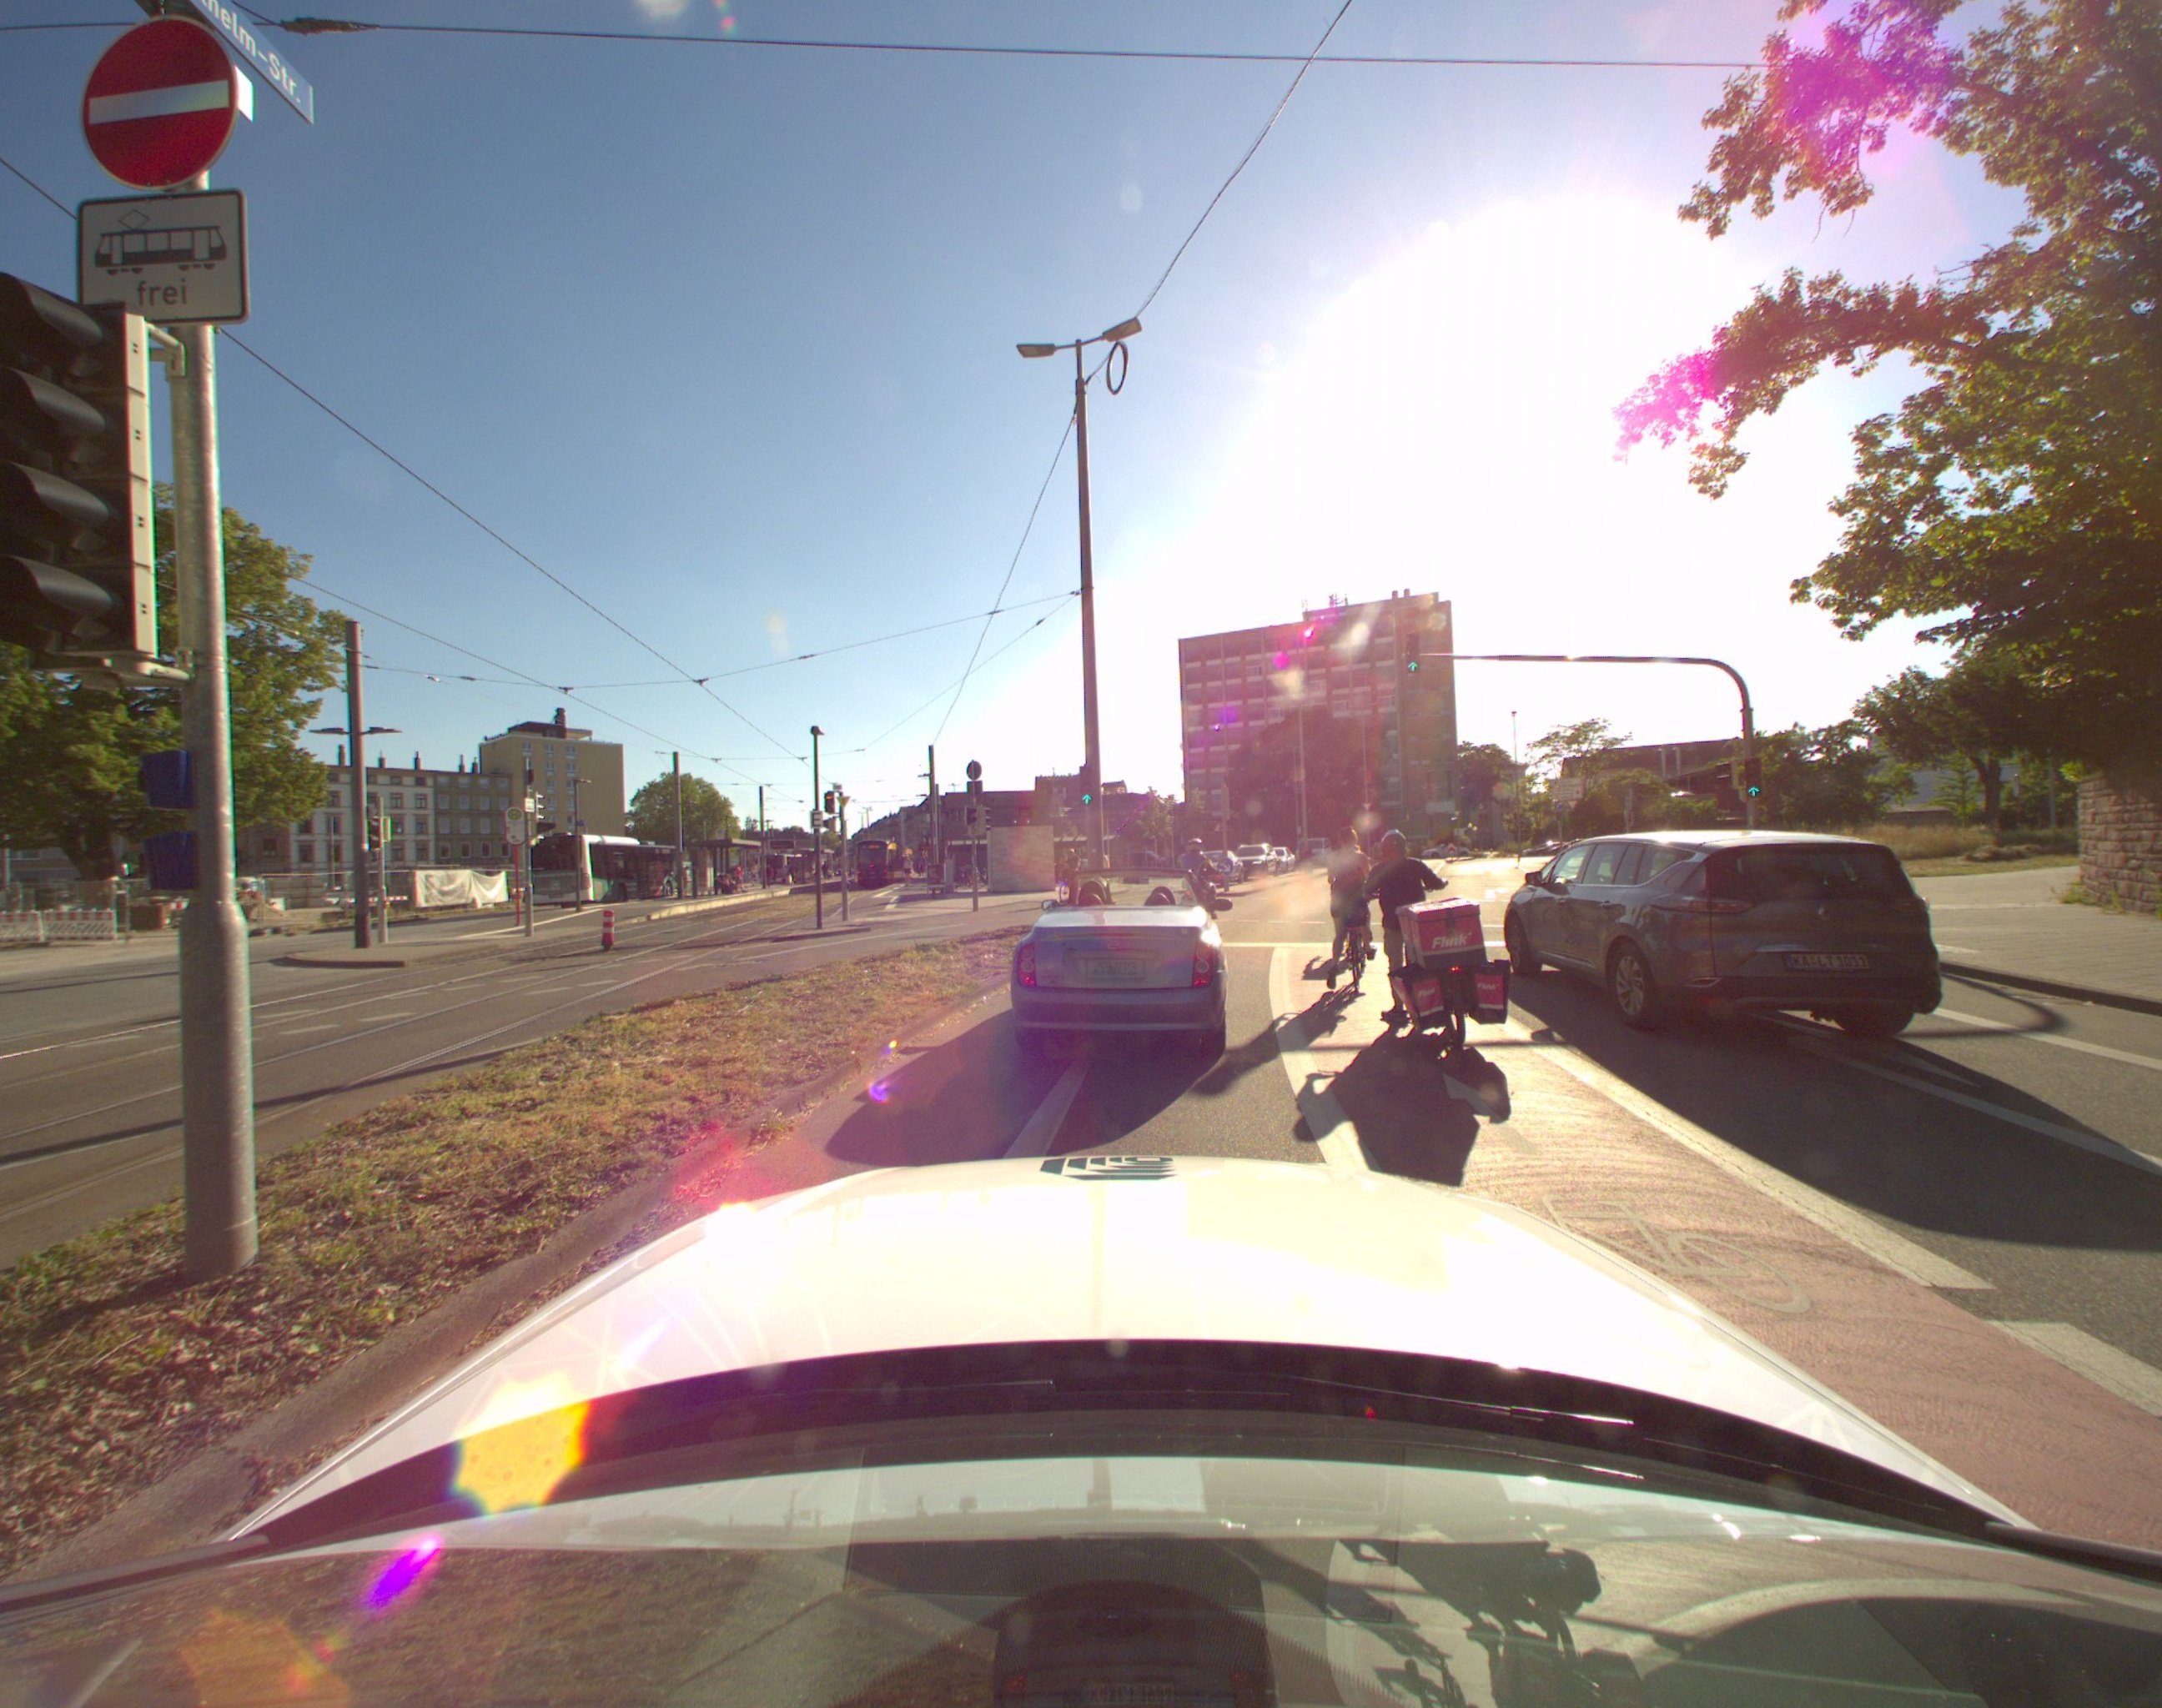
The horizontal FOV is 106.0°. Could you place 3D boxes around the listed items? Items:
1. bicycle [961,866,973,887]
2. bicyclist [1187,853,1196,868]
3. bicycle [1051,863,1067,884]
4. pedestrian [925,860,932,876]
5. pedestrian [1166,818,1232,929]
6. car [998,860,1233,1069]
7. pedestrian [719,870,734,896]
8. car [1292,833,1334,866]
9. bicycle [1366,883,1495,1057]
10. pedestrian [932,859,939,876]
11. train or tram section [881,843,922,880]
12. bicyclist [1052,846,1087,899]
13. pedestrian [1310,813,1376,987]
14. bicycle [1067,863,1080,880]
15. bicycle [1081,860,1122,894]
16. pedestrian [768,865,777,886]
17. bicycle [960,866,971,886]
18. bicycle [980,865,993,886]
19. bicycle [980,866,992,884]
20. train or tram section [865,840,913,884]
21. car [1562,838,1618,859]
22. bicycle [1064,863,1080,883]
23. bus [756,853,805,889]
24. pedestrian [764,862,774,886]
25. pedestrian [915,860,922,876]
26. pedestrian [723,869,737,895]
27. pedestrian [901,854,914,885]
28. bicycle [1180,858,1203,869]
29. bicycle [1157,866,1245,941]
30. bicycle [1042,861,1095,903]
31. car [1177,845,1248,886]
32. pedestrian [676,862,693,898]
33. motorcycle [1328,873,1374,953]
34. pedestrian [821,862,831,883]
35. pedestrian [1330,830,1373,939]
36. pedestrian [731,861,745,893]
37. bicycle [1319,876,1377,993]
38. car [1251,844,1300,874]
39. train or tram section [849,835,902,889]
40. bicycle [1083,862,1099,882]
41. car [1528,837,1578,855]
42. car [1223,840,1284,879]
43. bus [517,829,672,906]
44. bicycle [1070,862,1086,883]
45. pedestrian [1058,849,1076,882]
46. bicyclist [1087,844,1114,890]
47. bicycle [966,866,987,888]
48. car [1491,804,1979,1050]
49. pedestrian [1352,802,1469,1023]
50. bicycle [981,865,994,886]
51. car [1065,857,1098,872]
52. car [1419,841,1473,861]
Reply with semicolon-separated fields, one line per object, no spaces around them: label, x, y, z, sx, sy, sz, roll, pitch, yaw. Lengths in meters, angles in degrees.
bicycle;-6.214;1.229;44.361;0.607;1.115;1.890;0;-1;-10
bicyclist;11.829;0.707;87.446;0.744;1.598;0.593;-1;-1;32
bicycle;-1.255;1.078;45.297;0.607;1.115;1.890;0;-1;-10
pedestrian;-16.216;1.488;86.477;0.639;1.749;0.732;-2;-1;-17
pedestrian;2.069;0.332;14.244;0.825;1.869;0.926;-1;-1;31
car;0.548;0.781;7.798;1.650;1.441;4.164;-1;-1;9
pedestrian;-18.604;1.517;42.778;0.617;1.340;0.438;-2;-1;-15
car;15.351;-0.285;53.698;1.891;1.945;4.733;-4;-1;24
bicycle;2.917;0.871;7.018;0.550;1.171;2.380;-1;-1;12
pedestrian;-15.472;1.402;86.688;0.639;1.749;0.732;-2;-1;-17
train or tram section;-18.603;0.808;85.230;3.037;3.597;12.021;0;0;-7
bicyclist;-0.372;0.604;27.016;0.702;1.657;0.906;-5;-2;24
pedestrian;2.963;0.500;9.244;0.654;1.869;0.876;-1;-1;17
bicycle;-0.559;1.201;56.913;0.607;1.115;1.890;0;-1;-10
bicycle;0.779;0.837;30.236;0.668;1.180;2.195;-3;0;24
pedestrian;-25.454;1.780;67.187;0.571;1.749;0.636;-2;-1;-17
bicycle;-6.562;1.247;46.295;0.606;1.115;1.891;0;-1;-8
bicycle;-5.179;1.190;44.667;0.607;1.115;1.890;0;-1;-10
bicycle;-5.903;1.284;50.626;0.607;1.115;1.890;0;-1;-10
train or tram section;-17.068;0.701;73.259;3.010;3.597;12.165;0;0;-8
car;43.644;-0.501;69.913;3.948;1.530;1.816;-4;-1;32
bicycle;-0.543;1.090;47.354;0.607;1.115;1.890;0;-1;-10
bus;-29.671;1.582;80.949;2.723;3.274;13.409;0;-1;-12
pedestrian;-22.774;1.446;59.450;0.641;1.749;0.567;-2;-1;-25
pedestrian;-18.074;1.525;90.537;0.604;1.749;0.830;-2;-1;-6
pedestrian;-18.734;1.471;43.464;0.571;1.346;0.636;-2;-1;-15
pedestrian;-9.910;0.873;46.571;0.639;1.749;0.569;-2;-1;-17
bicycle;11.899;1.010;87.398;2.383;1.191;0.613;-1;-1;32
bicycle;2.153;0.813;14.331;0.602;1.191;2.430;-1;-1;32
bicycle;-0.377;0.904;26.948;0.668;1.250;2.471;-5;-1;24
car;5.474;0.466;33.507;1.720;1.574;3.948;-1;-1;28
pedestrian;-19.638;1.269;40.365;0.536;1.749;0.559;-2;-1;-4
motorcycle;4.233;0.862;12.706;0.608;1.097;2.371;-1;-1;19
pedestrian;-21.769;1.559;69.467;0.641;1.749;0.567;-2;-1;-25
pedestrian;4.178;0.453;12.562;0.583;1.598;1.030;-1;-1;19
pedestrian;-19.112;1.272;45.341;0.571;1.749;0.636;-2;-1;-15
bicycle;3.017;0.841;9.293;0.559;1.151;1.958;-1;-1;17
car;11.010;0.254;45.922;1.678;1.560;4.004;-3;0;28
train or tram section;-15.263;0.578;61.217;2.881;3.597;12.158;0;-1;-10
bicycle;0.555;1.052;47.716;0.607;1.115;1.890;0;-1;-10
car;43.767;-0.762;75.533;3.949;1.574;1.746;-1;-1;29
car;8.367;0.235;39.202;1.745;1.706;4.557;-4;-1;26
bus;-22.372;0.570;38.224;2.652;3.135;9.617;0;-1;-8
bicycle;-0.180;1.012;45.413;0.607;1.115;1.890;0;-1;-10
pedestrian;-0.813;0.654;46.985;0.901;1.869;0.684;0;-1;-11
bicyclist;0.723;0.474;30.150;0.702;1.657;0.747;-3;-1;24
bicycle;-5.468;1.200;42.737;0.603;1.115;1.901;0;-1;8
car;5.650;0.525;7.900;1.820;1.689;4.381;-1;-1;10
pedestrian;2.976;0.501;7.449;0.801;1.869;0.959;-1;-1;10
bicycle;-5.376;1.222;46.736;0.607;1.115;1.890;0;-1;-10
car;0.029;1.169;88.658;1.653;1.560;3.559;-2;0;-37
car;32.761;-0.270;73.119;3.967;1.530;1.808;-3;-1;5
